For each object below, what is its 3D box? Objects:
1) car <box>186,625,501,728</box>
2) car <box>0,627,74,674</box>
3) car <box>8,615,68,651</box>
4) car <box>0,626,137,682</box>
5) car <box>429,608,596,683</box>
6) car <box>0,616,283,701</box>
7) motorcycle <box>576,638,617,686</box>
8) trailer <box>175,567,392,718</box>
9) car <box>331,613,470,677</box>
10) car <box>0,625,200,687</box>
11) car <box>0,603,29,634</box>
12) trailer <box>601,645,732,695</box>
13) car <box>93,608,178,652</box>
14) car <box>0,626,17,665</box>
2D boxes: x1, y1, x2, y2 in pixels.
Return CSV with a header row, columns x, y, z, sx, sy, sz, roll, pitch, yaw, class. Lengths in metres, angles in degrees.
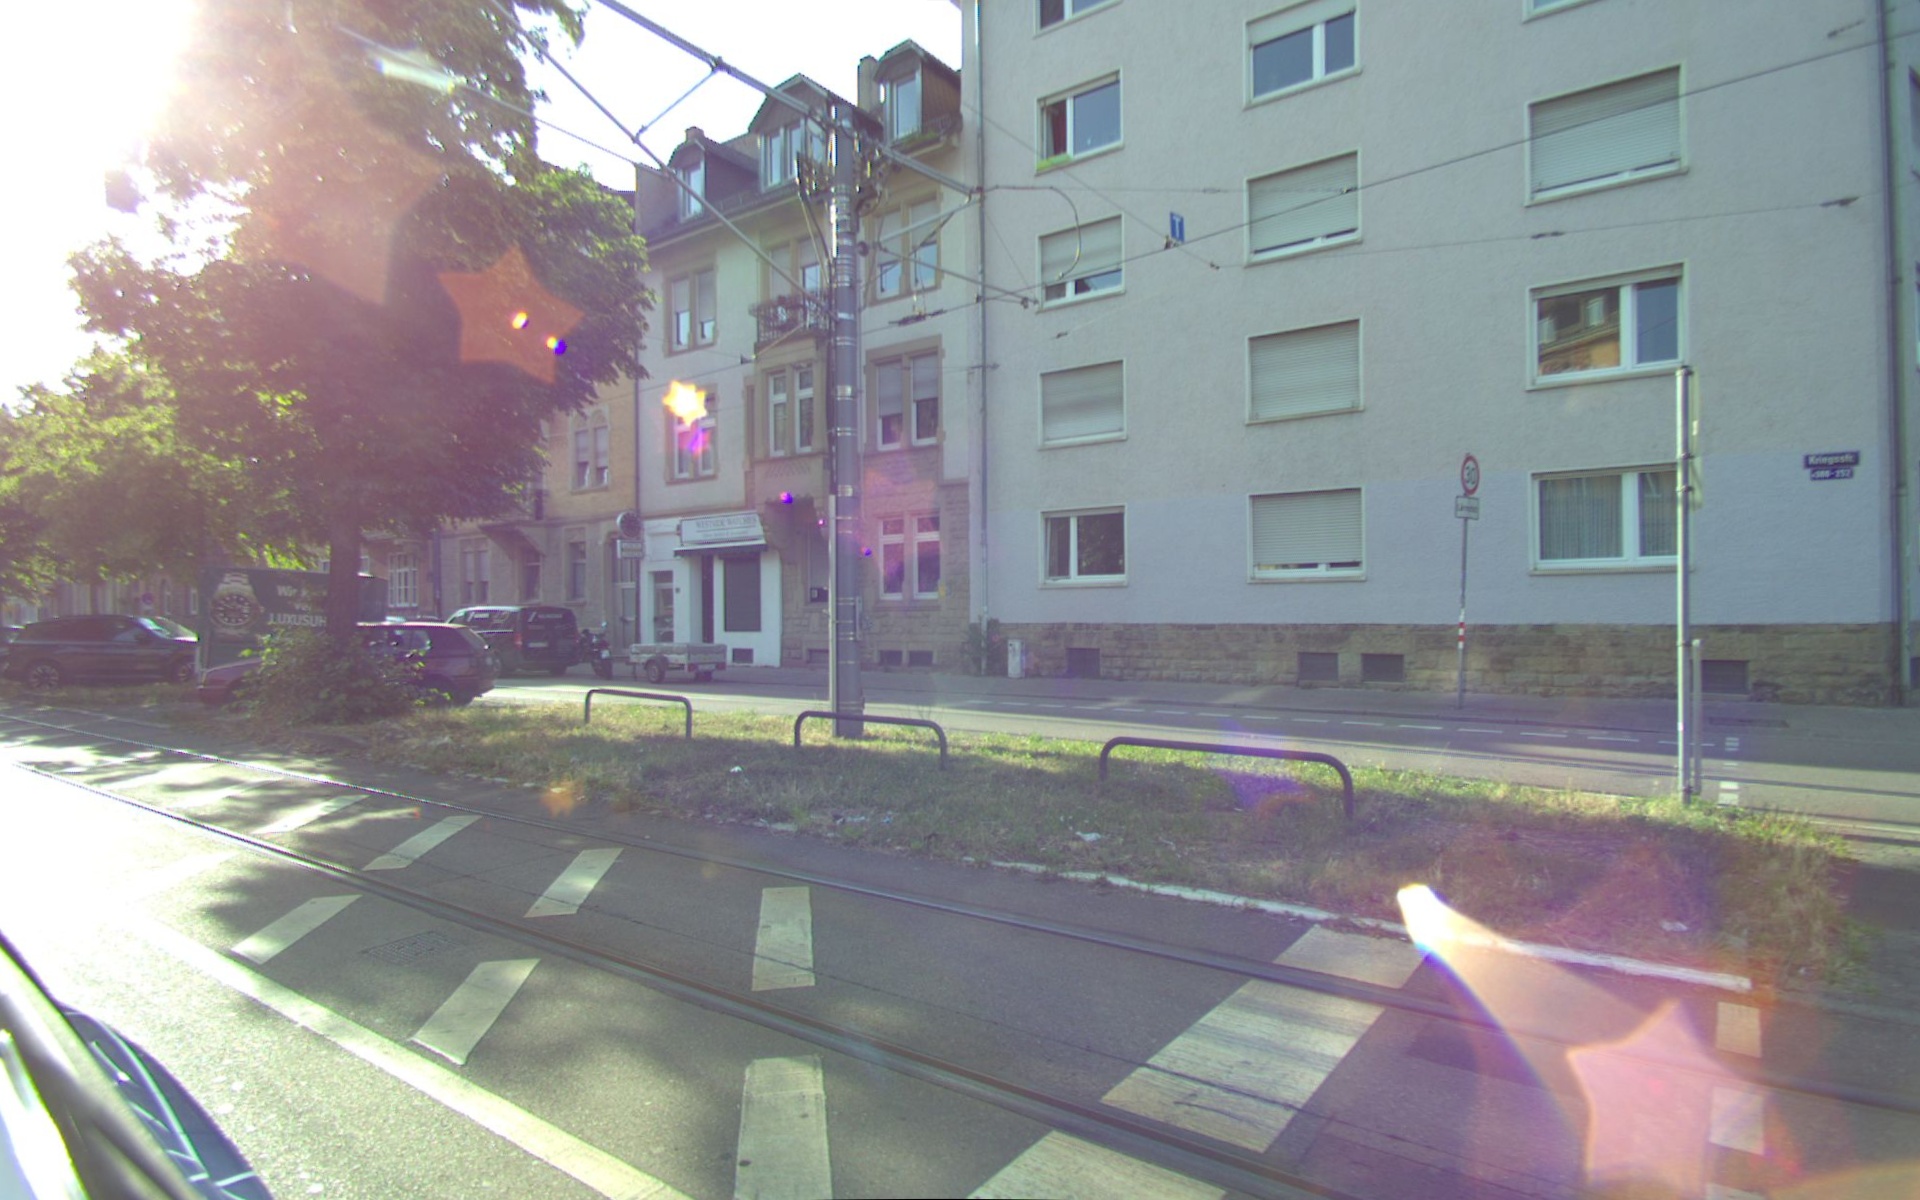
x,y,z,sx,sy,sz,roll,pitch,yaw,class
-9.277,1.104,15.597,3.885,1.370,1.678,0,-1,-19,car
-31.582,1.671,32.658,4.201,1.433,1.686,-2,0,-12,car
-56.425,2.017,61.923,3.993,2.029,1.975,-2,0,37,car
-26.072,1.516,28.360,4.235,1.433,1.964,-2,0,-12,car
-11.986,1.177,26.969,4.712,1.763,2.144,-2,0,39,car
-18.097,1.243,22.468,4.640,1.703,2.177,-1,-1,-12,car
-8.866,1.488,24.646,0.626,1.088,1.739,-1,0,-29,motorcycle
-11.674,0.687,17.673,2.816,2.410,1.728,-1,-1,-22,trailer
-17.221,1.347,31.047,4.605,1.763,2.144,-2,0,39,car
-22.827,1.432,26.341,4.531,1.392,1.707,-2,0,-19,car
-64.385,1.281,68.018,3.993,2.029,1.975,-2,0,37,car
-6.820,1.583,23.443,2.874,0.902,1.428,-2,5,37,trailer
-38.277,1.393,46.969,4.605,1.915,2.144,-2,0,39,car
-37.568,1.756,36.855,4.201,1.433,2.177,-2,0,-12,car
